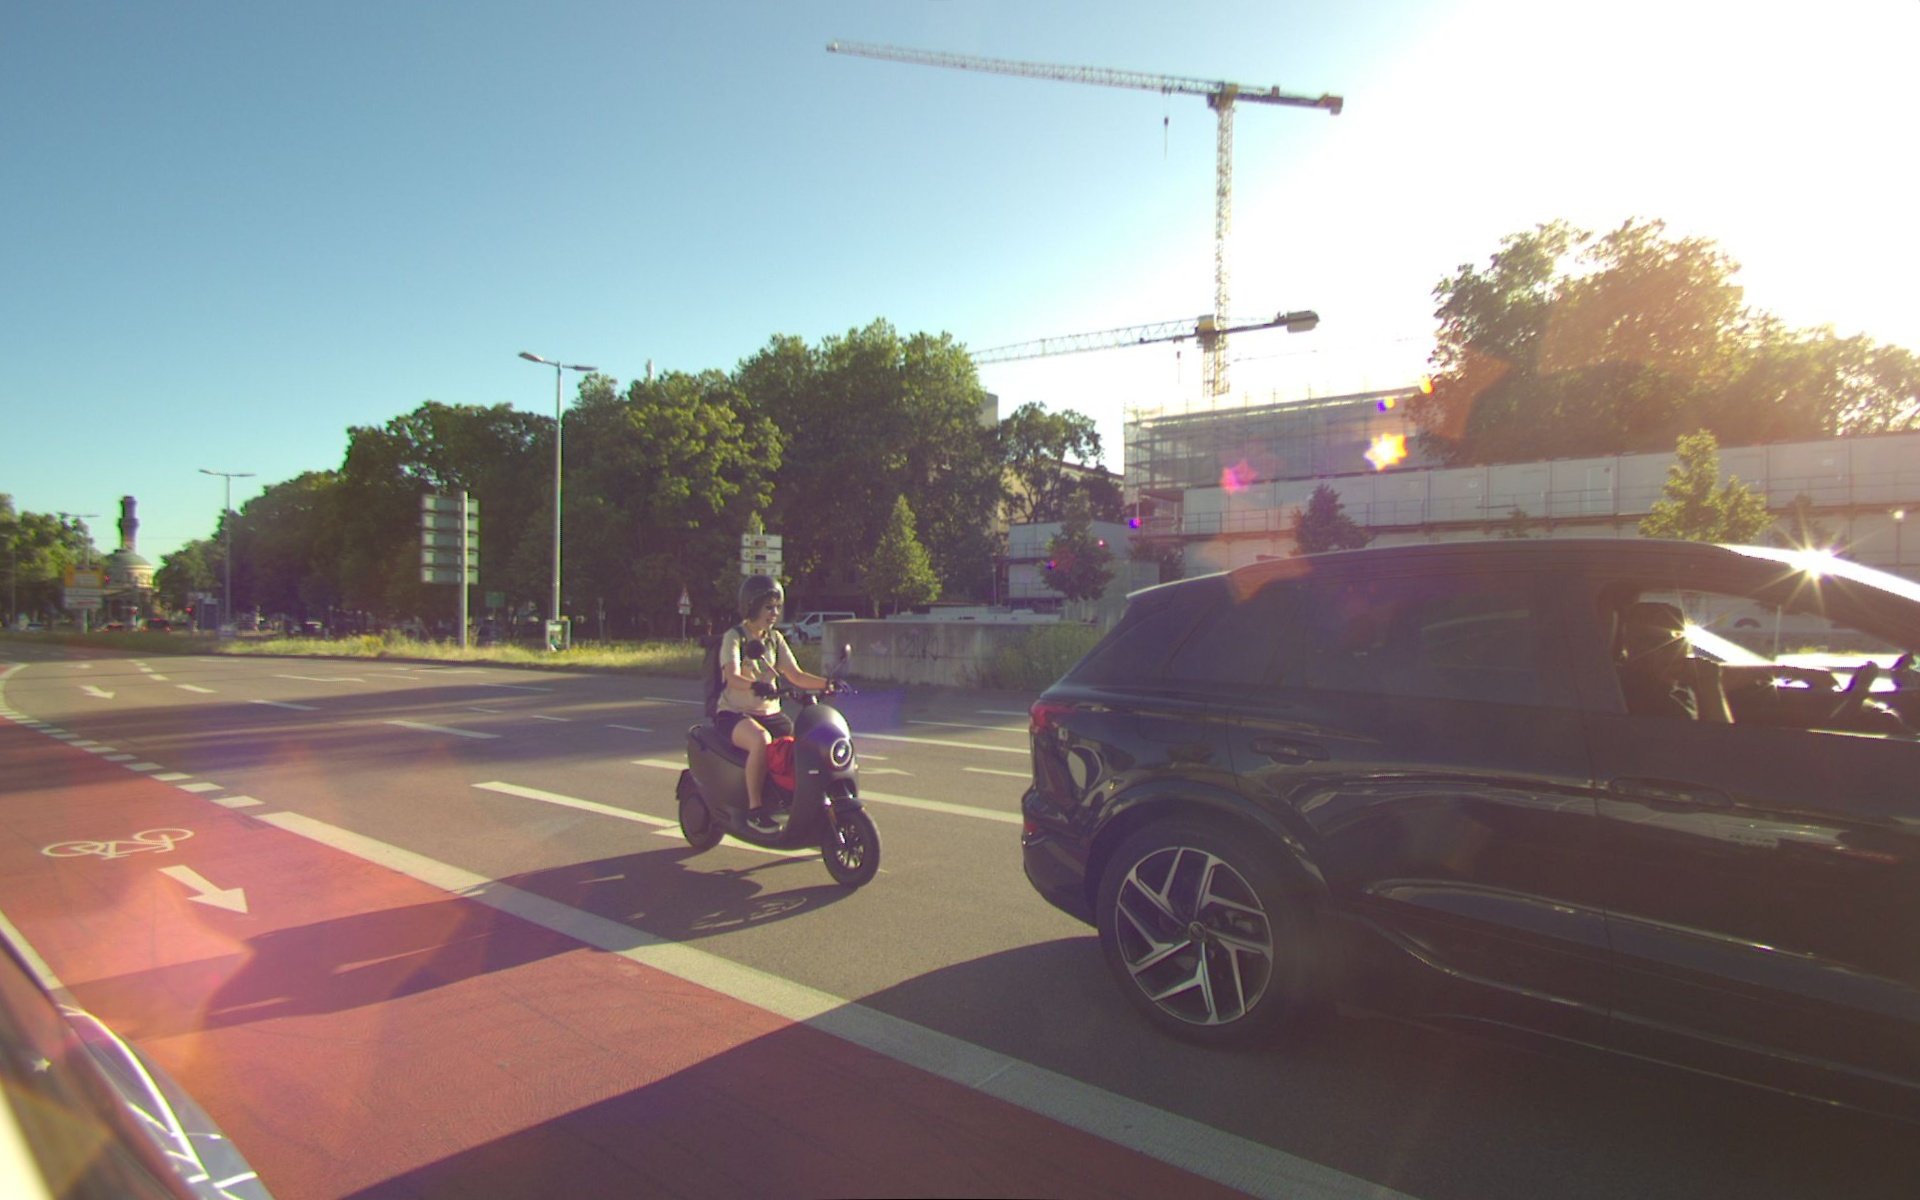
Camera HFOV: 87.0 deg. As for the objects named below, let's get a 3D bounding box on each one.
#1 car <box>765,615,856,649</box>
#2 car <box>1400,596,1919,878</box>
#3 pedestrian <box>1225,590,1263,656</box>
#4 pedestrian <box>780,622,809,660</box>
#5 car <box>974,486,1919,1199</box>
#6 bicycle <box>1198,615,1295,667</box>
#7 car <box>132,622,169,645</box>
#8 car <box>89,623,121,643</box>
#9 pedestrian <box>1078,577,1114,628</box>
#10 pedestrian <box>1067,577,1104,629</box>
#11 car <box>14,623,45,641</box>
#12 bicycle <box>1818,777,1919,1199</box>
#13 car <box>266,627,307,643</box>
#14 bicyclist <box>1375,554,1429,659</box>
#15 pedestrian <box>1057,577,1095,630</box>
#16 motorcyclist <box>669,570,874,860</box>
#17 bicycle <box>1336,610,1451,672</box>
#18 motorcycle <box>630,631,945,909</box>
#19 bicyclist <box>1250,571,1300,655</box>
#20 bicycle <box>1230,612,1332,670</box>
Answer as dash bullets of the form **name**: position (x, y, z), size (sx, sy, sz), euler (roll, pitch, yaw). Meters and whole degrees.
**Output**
- **car**: position (-9.060, 1.925, 61.847), size (2.065, 1.950, 5.443), euler (-1, -2, 42)
- **car**: position (4.975, 0.753, 6.548), size (3.603, 1.497, 1.477), euler (-2, -1, 41)
- **pedestrian**: position (10.640, 0.843, 37.867), size (1.018, 2.393, 1.007), euler (-1, 0, 41)
- **pedestrian**: position (-8.232, 2.039, 50.349), size (1.018, 1.845, 0.977), euler (-1, 0, 37)
- **car**: position (2.417, 0.575, 3.028), size (4.677, 1.647, 1.753), euler (-1, 0, 40)
- **bicycle**: position (10.680, 1.492, 37.831), size (3.355, 1.824, 1.066), euler (-1, 0, 40)
- **car**: position (-69.534, 2.830, 86.930), size (3.998, 1.841, 1.796), euler (-1, 0, 41)
- **car**: position (-79.868, 3.038, 94.535), size (3.945, 1.802, 1.725), euler (-1, 0, 41)
- **pedestrian**: position (5.544, 0.117, 41.162), size (1.135, 2.029, 0.930), euler (-1, 0, 35)
- **pedestrian**: position (5.013, 0.124, 40.402), size (1.135, 2.029, 0.930), euler (-1, 0, 35)
- **car**: position (-89.548, 3.063, 97.391), size (3.998, 1.699, 1.826), euler (-1, 0, 41)
- **bicycle**: position (1.421, 0.780, 0.223), size (1.829, 1.227, 0.610), euler (-2, -1, 39)
- **car**: position (-80.737, 4.212, 121.336), size (3.936, 1.699, 1.854), euler (-1, 0, -39)
- **bicyclist**: position (13.502, 0.203, 30.923), size (1.305, 3.126, 0.831), euler (-1, 0, 39)
- **pedestrian**: position (4.534, 0.145, 39.564), size (1.135, 2.029, 0.930), euler (-1, 0, 35)
- **motorcyclist**: position (-1.078, 0.595, 5.772), size (0.917, 1.485, 0.717), euler (-2, -1, 41)
- **bicycle**: position (13.291, 1.256, 31.098), size (3.079, 1.824, 0.831), euler (-3, -1, 40)
- **motorcycle**: position (-1.032, 0.841, 5.732), size (1.883, 1.303, 0.715), euler (-2, -1, 41)
- **bicyclist**: position (10.426, 0.428, 33.488), size (1.305, 2.749, 0.831), euler (-1, -1, 39)
- **bicycle**: position (10.550, 1.352, 33.403), size (3.079, 1.824, 0.831), euler (-3, -1, 40)
